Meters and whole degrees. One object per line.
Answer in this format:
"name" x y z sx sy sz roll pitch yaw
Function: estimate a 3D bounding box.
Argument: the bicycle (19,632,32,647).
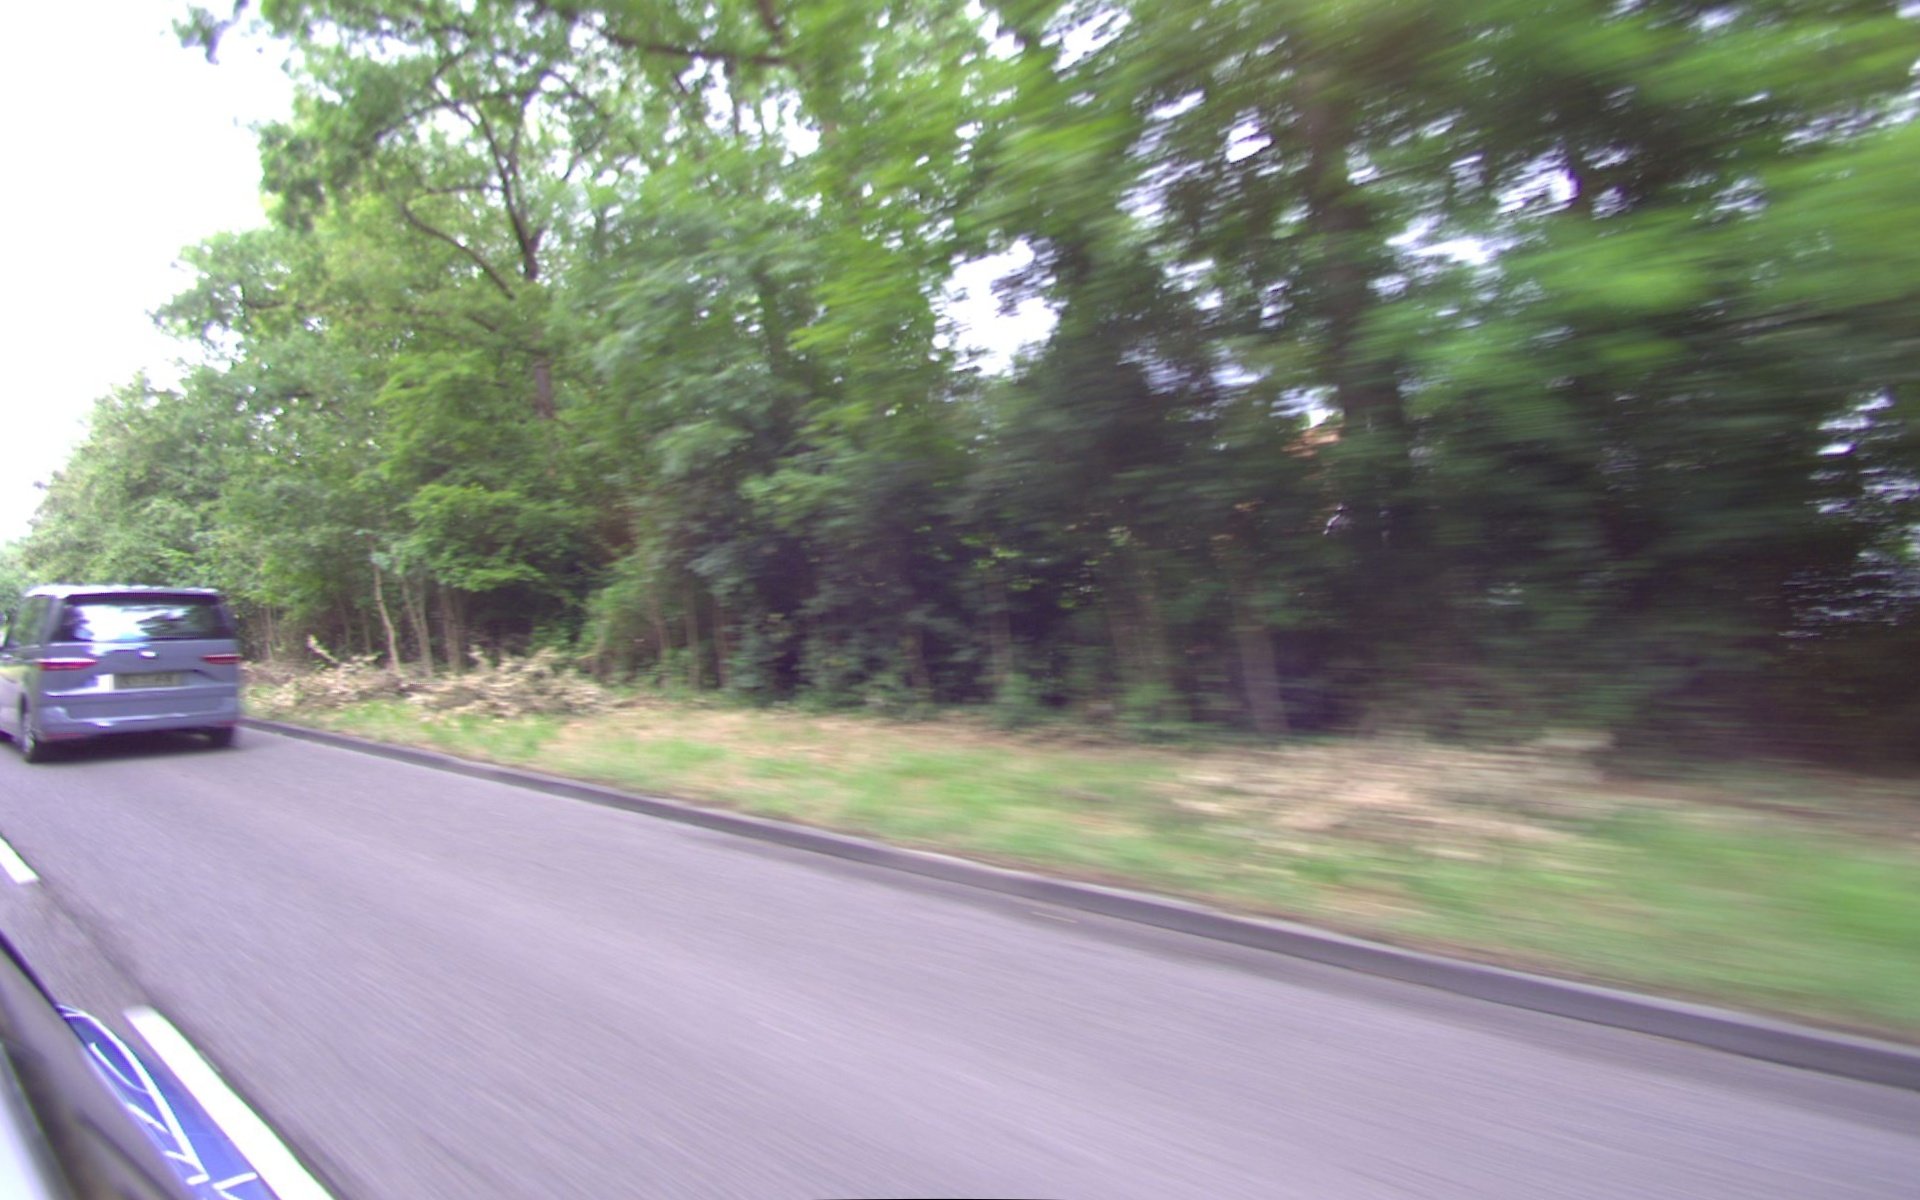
"bicycle" -74.945 3.162 81.176 0.657 1.082 2.149 -1 0 -41

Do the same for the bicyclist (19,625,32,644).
"bicyclist" -74.958 2.749 81.177 0.657 1.531 1.273 -1 -1 -41

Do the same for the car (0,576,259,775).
"car" -10.451 0.760 12.357 4.944 1.962 1.973 -1 0 42
